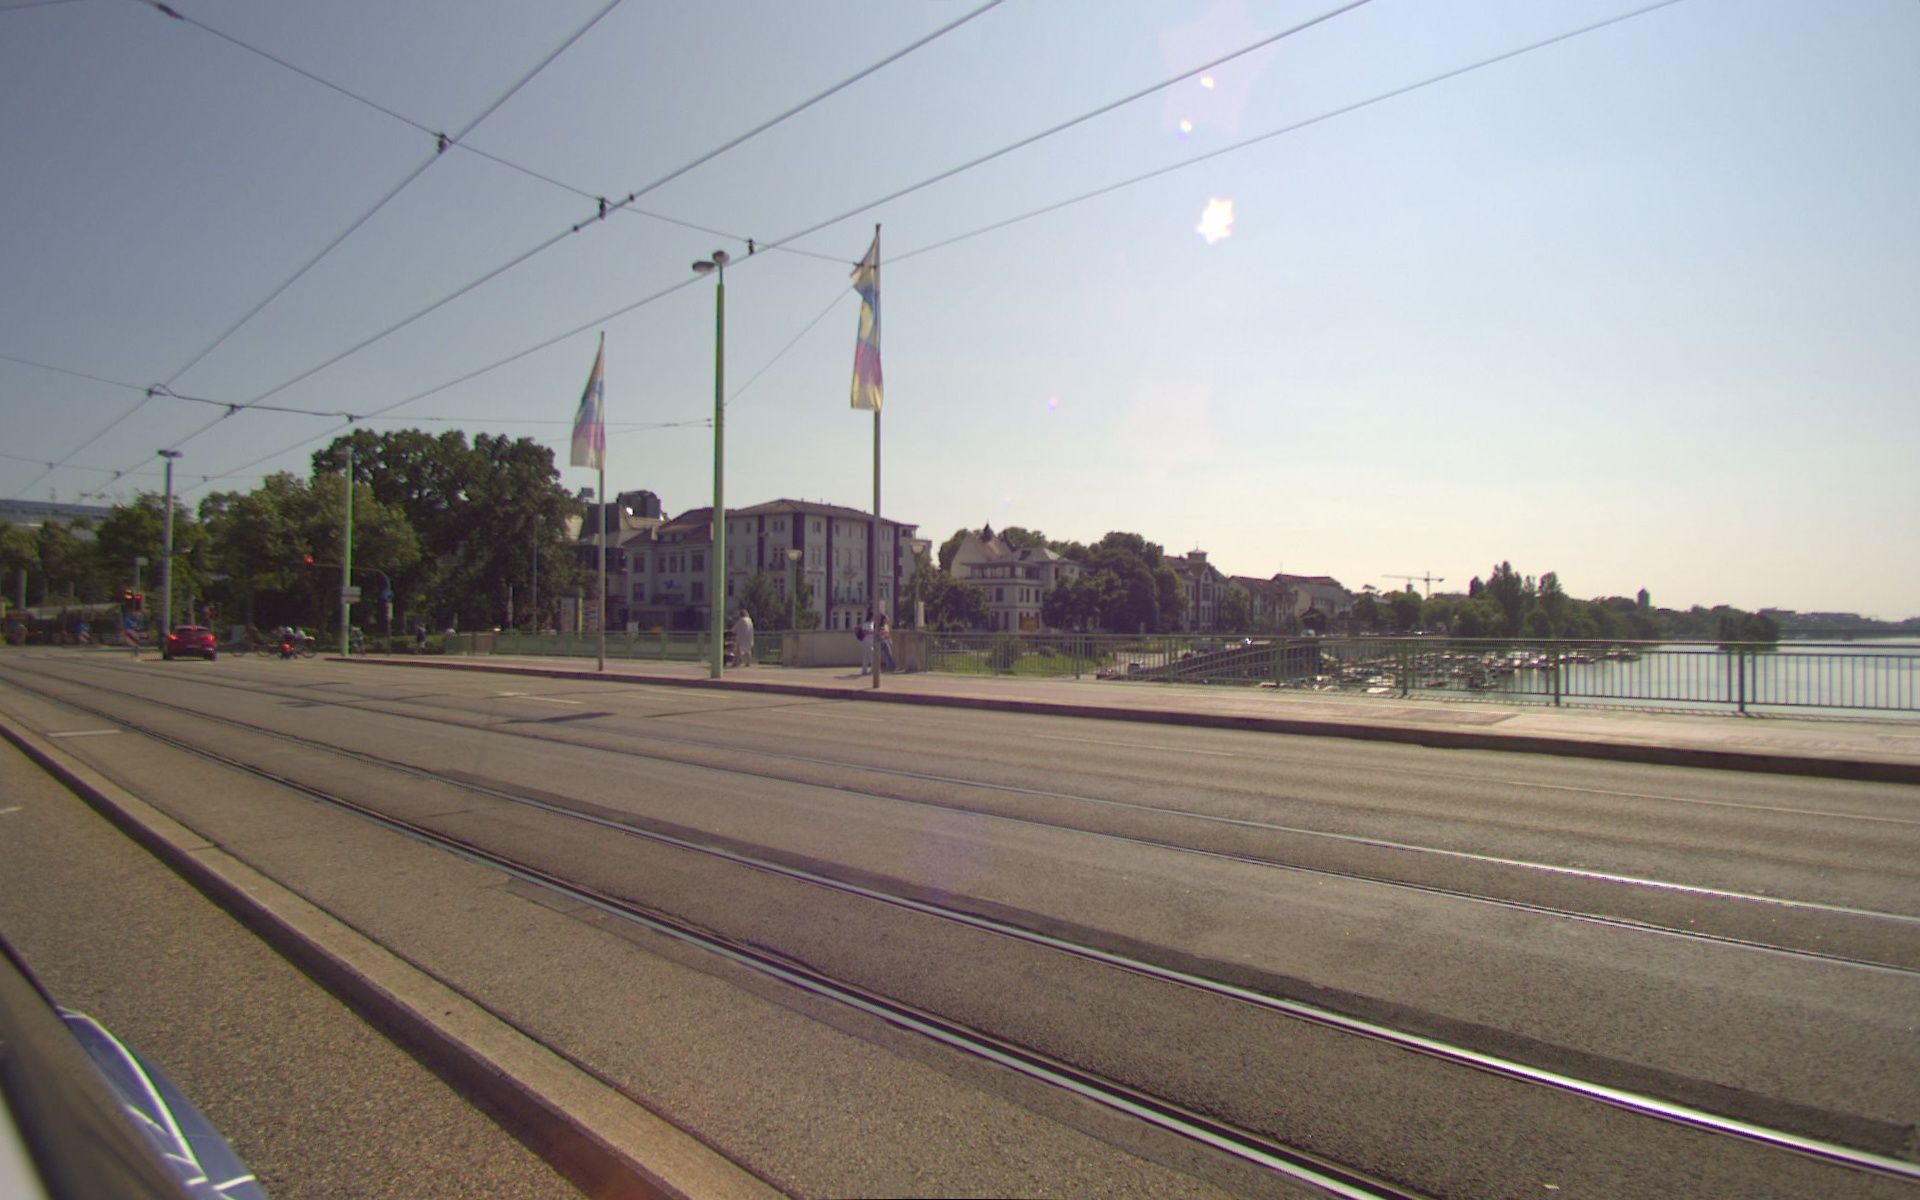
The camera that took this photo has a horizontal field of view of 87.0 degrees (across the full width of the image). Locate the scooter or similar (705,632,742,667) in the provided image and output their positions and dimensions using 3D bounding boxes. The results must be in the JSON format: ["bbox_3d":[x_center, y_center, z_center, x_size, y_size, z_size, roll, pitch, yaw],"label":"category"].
[{"bbox_3d":[-7.388,1.537,31.665,0.832,1.037,0.731,-2,1,40],"label":"scooter or similar"}]

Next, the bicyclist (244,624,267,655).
[{"bbox_3d":[-37.090,2.062,53.287,0.772,1.621,0.867,-1,-2,45],"label":"bicyclist"}]

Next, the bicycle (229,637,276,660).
[{"bbox_3d":[-37.179,2.547,53.178,0.761,1.122,1.892,-1,-1,45],"label":"bicycle"}]

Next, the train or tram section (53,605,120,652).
[{"bbox_3d":[-82.185,2.602,95.141,9.149,3.805,2.515,3,1,35],"label":"train or tram section"}]

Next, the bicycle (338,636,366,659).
[{"bbox_3d":[-31.998,2.500,53.279,1.920,1.122,0.750,-4,-1,44],"label":"bicycle"}]

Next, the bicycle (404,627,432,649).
[{"bbox_3d":[-29.003,2.026,54.146,1.920,1.122,0.750,-1,-1,42],"label":"bicycle"}]

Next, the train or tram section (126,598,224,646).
[{"bbox_3d":[-66.066,1.854,85.034,11.807,3.806,2.451,-1,-2,31],"label":"train or tram section"}]

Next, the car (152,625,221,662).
[{"bbox_3d":[-34.566,1.903,45.175,1.970,1.526,4.193,1,-1,-44],"label":"car"}]

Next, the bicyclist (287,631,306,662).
[{"bbox_3d":[-35.089,2.449,53.549,0.758,1.621,0.882,1,-2,-30],"label":"bicyclist"}]

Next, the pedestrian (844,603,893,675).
[{"bbox_3d":[-2.372,0.997,26.175,0.956,1.797,0.731,-2,1,40],"label":"pedestrian"}]

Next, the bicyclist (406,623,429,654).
[{"bbox_3d":[-29.069,2.052,54.185,0.771,1.621,0.868,-1,-1,42],"label":"bicyclist"}]

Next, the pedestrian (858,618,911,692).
[{"bbox_3d":[-1.992,1.436,26.712,1.120,1.862,0.731,-2,1,40],"label":"pedestrian"}]

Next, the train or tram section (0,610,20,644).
[{"bbox_3d":[-100.701,2.832,104.915,12.394,3.429,2.733,-1,-3,38],"label":"train or tram section"}]

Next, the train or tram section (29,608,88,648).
[{"bbox_3d":[-89.214,2.704,100.095,9.151,3.806,2.514,-1,-2,36],"label":"train or tram section"}]

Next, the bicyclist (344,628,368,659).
[{"bbox_3d":[-31.494,2.289,52.802,0.772,1.621,0.867,-4,-5,44],"label":"bicyclist"}]

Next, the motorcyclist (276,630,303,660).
[{"bbox_3d":[-32.262,2.139,48.684,0.897,1.412,0.836,-1,-1,40],"label":"motorcyclist"}]

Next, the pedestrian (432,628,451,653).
[{"bbox_3d":[-30.304,2.357,59.147,0.899,1.466,0.735,-1,-1,42],"label":"pedestrian"}]

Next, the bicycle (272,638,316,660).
[{"bbox_3d":[-35.170,2.599,53.464,1.887,1.122,0.763,1,-1,-31],"label":"bicycle"}]

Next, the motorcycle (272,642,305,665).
[{"bbox_3d":[-32.320,2.563,48.726,1.950,1.032,0.836,-1,-1,41],"label":"motorcycle"}]

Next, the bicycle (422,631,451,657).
[{"bbox_3d":[-30.807,2.576,59.543,2.161,1.410,0.698,-2,2,40],"label":"bicycle"}]

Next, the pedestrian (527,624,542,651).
[{"bbox_3d":[-28.401,2.489,67.575,0.686,1.806,0.701,0,-2,-1],"label":"pedestrian"}]

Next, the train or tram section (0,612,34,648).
[{"bbox_3d":[-93.327,2.979,99.080,5.876,3.429,2.735,-1,-3,37],"label":"train or tram section"}]

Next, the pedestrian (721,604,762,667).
[{"bbox_3d":[-6.706,1.077,31.066,0.974,1.867,0.731,-2,1,40],"label":"pedestrian"}]

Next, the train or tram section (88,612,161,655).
[{"bbox_3d":[-74.785,3.021,90.478,9.593,3.709,2.384,-2,-3,34],"label":"train or tram section"}]
